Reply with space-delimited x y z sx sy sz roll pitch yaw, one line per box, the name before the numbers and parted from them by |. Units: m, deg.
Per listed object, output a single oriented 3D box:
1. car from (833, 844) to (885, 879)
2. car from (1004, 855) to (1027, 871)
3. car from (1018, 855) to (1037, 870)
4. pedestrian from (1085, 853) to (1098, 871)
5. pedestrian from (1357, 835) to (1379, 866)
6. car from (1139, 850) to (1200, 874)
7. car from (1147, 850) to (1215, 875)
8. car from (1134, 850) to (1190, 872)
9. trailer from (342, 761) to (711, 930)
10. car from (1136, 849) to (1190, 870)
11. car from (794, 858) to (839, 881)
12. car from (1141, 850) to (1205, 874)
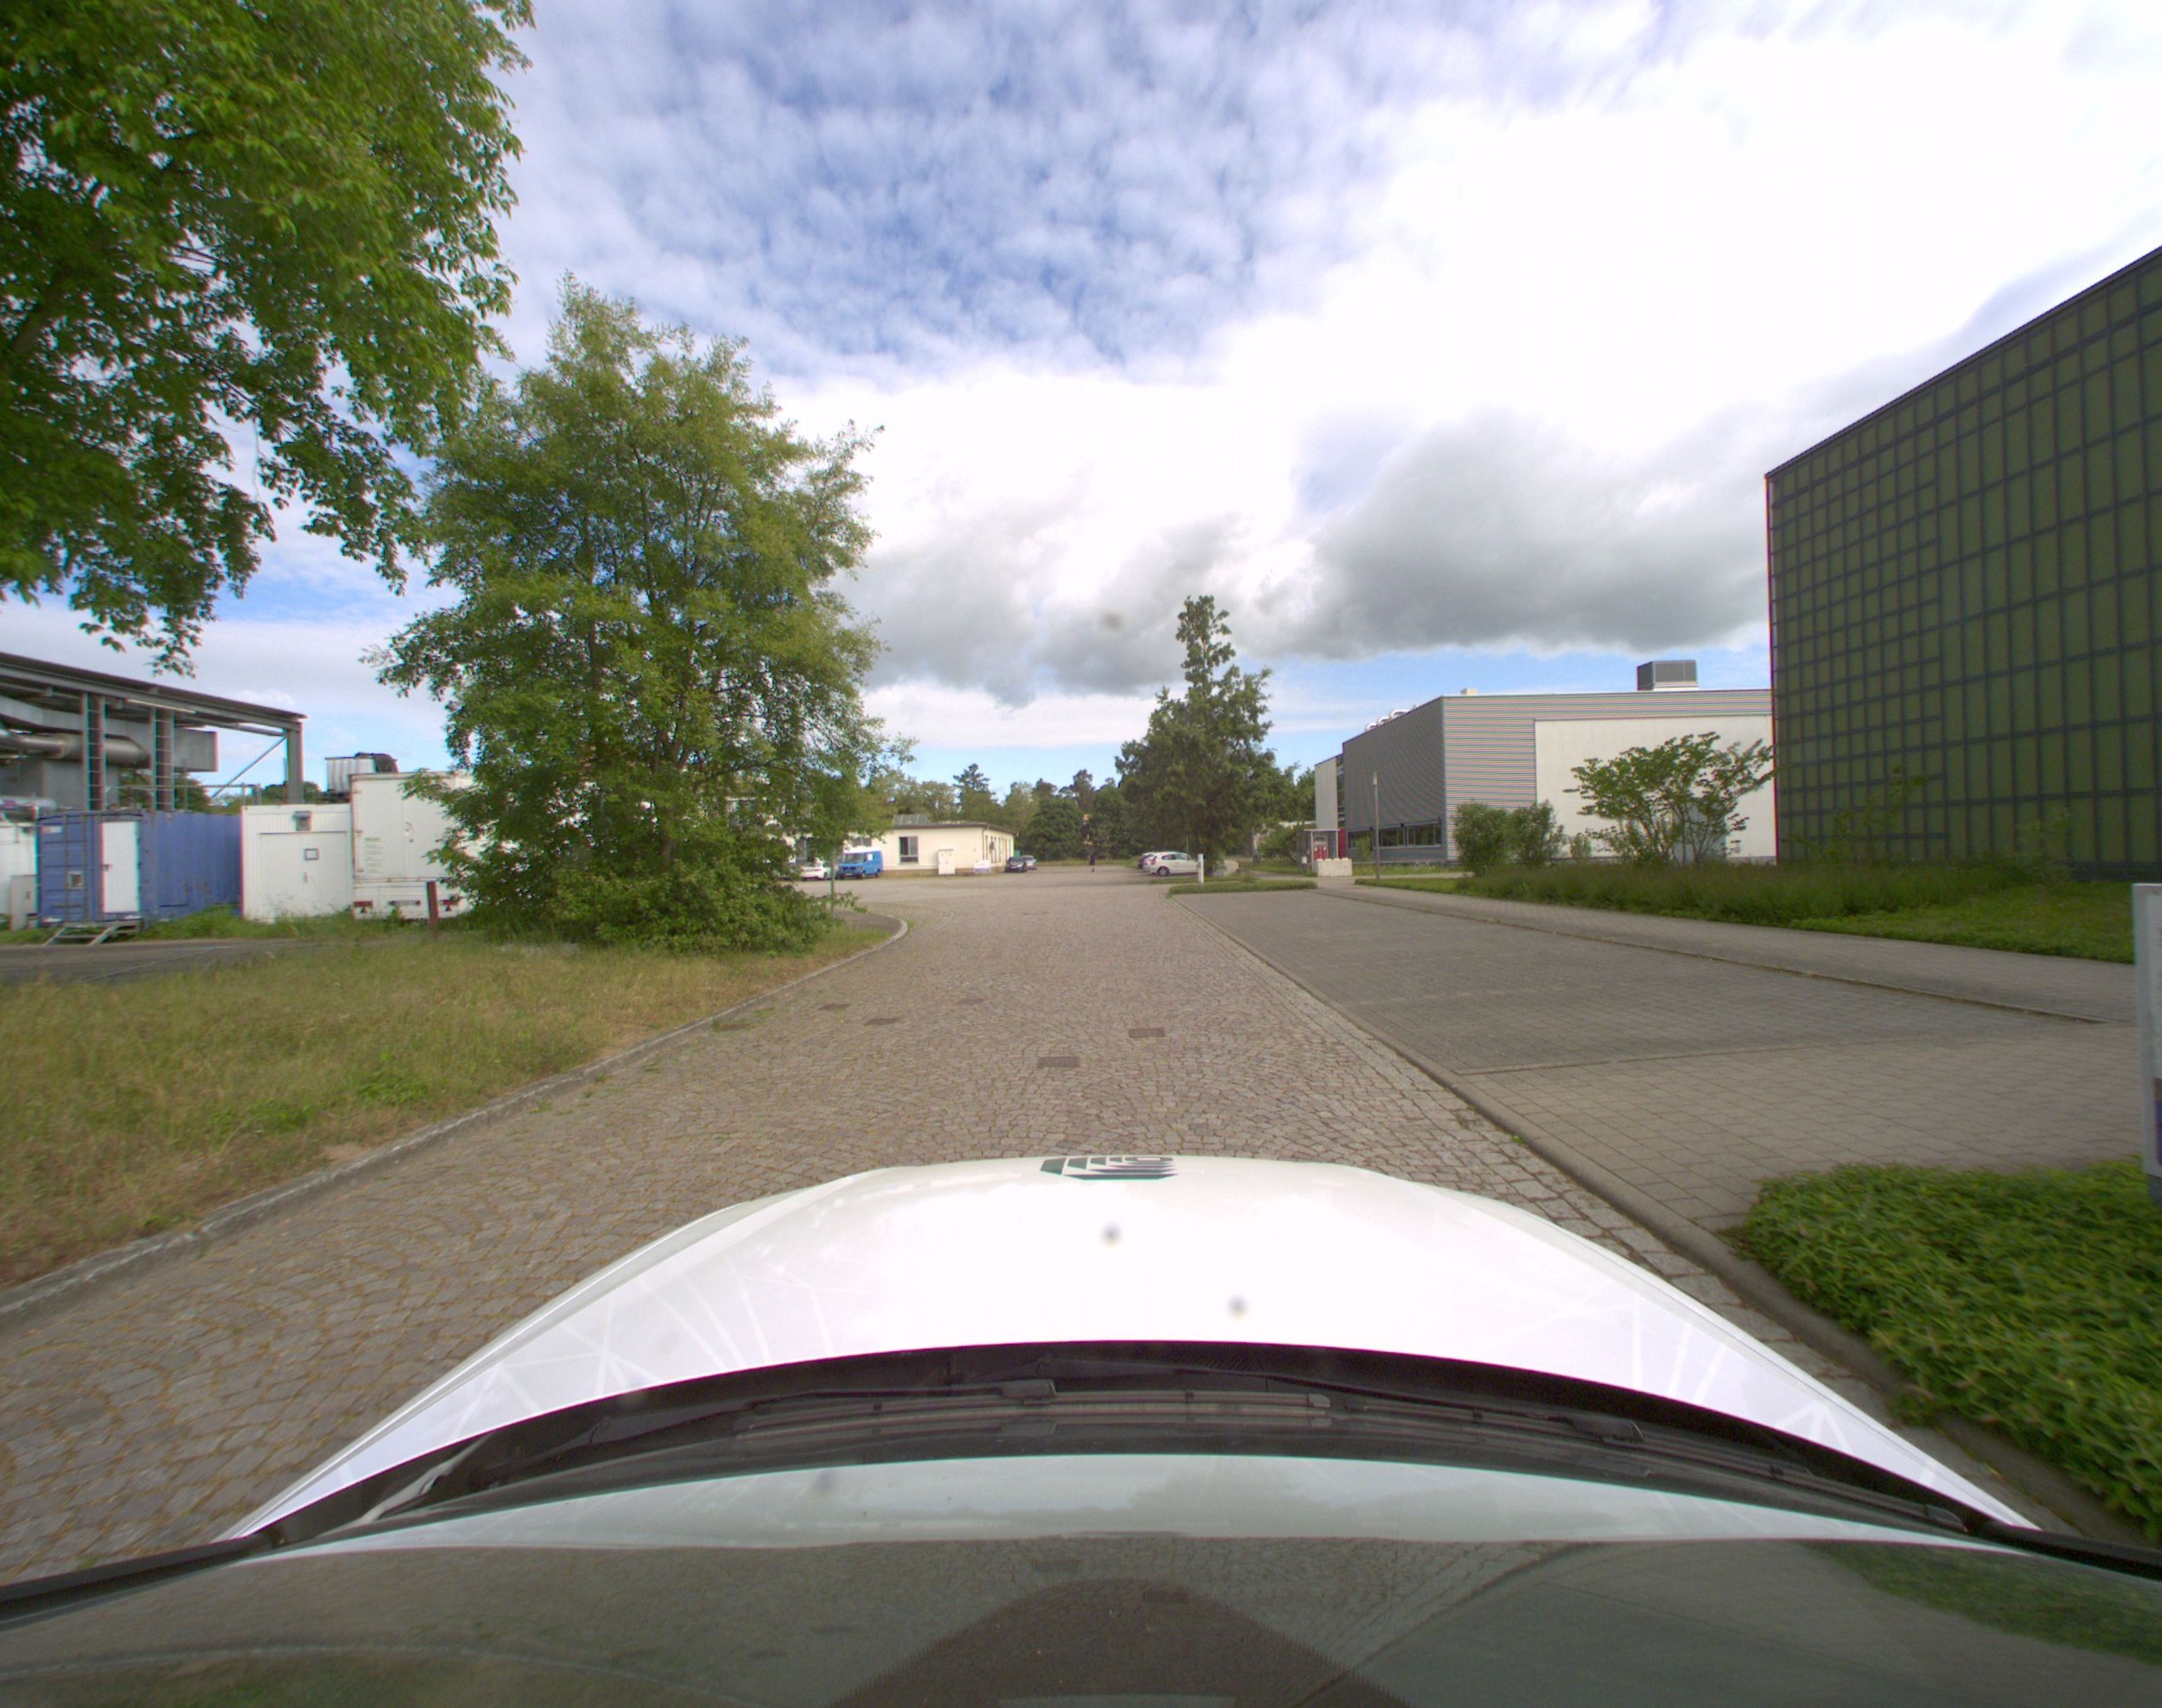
car | -17.125 0.553 63.014 1.984 2.523 5.625 -2 0 5
car | -5.958 0.834 74.441 1.744 1.364 3.998 -2 0 -1
car | -5.571 0.892 84.670 1.744 1.454 3.998 -2 0 -1
pedestrian | 0.917 0.677 70.735 0.939 1.568 0.969 -2 0 -7
pedestrian | 17.810 -0.208 50.569 0.922 1.936 0.847 -1 -1 -29
car | 6.020 0.537 55.495 3.972 1.455 1.770 -2 0 1
car | 6.121 0.531 50.283 3.972 1.455 2.001 -1 -1 1
car | 5.969 0.509 60.402 3.972 1.455 1.770 -2 0 1
trailer | -14.799 -0.180 23.503 2.645 3.705 10.732 -2 0 4
car | 6.376 0.430 63.612 3.977 1.533 1.998 -2 0 -3
car | -19.997 1.142 61.775 1.893 1.575 4.003 -2 0 3
car | 5.883 0.509 52.456 3.972 1.455 1.698 -2 0 1
